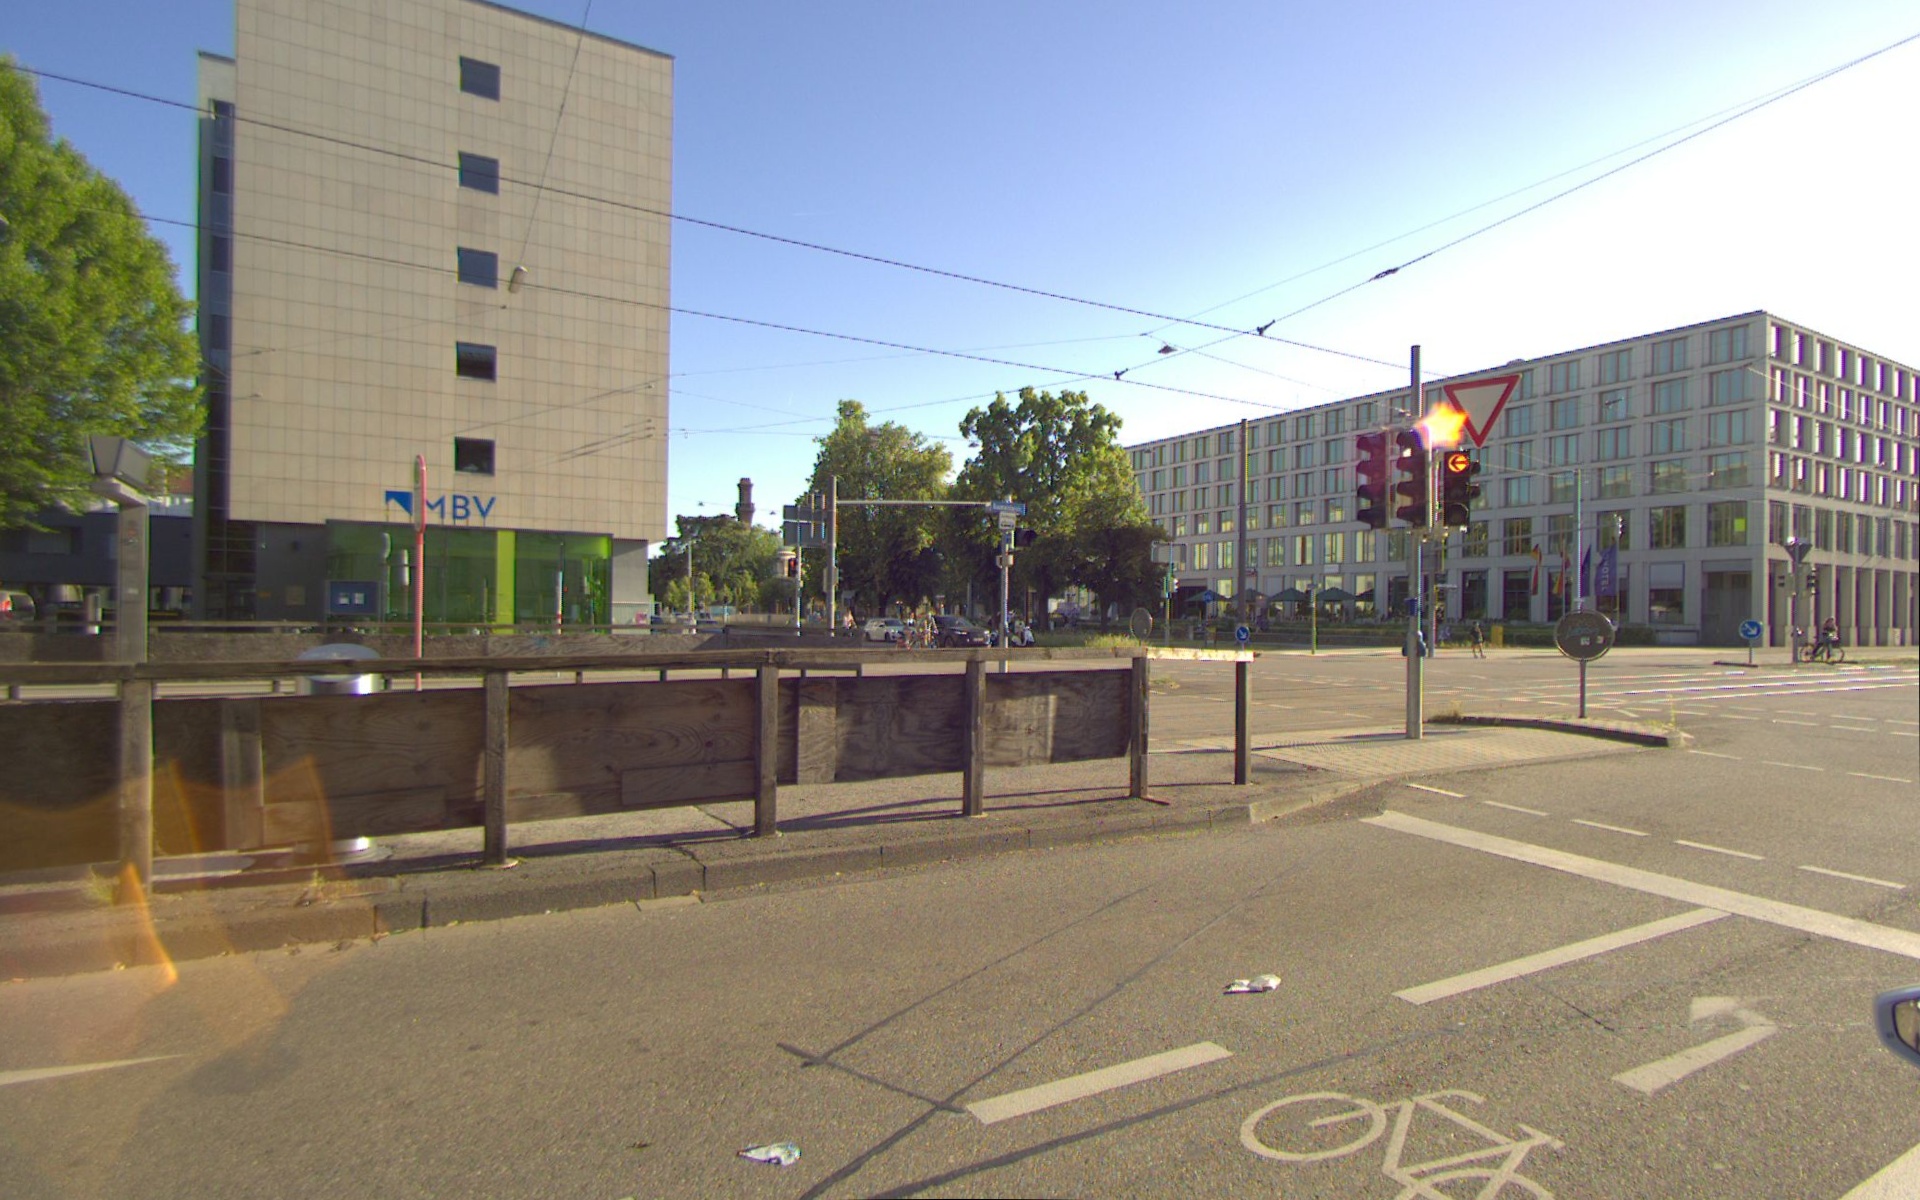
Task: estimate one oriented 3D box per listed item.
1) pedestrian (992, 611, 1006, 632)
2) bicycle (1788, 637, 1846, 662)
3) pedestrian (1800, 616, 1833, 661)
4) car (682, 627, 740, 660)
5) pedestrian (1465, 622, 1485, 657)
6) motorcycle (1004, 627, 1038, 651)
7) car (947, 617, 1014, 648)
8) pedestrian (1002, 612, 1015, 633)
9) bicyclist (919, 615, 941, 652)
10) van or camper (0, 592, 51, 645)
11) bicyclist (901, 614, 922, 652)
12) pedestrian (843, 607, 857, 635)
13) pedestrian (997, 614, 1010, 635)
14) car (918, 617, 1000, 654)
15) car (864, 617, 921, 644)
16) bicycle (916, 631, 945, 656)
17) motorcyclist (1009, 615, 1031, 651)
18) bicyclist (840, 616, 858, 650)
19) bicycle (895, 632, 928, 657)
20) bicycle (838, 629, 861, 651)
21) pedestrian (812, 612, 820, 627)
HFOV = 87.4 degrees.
[{"bbox_3d":[3.264,1.846,84.603,0.858,1.738,0.737,2,0,-26],"label":"pedestrian"},{"bbox_3d":[31.002,1.787,36.361,0.562,0.834,1.718,1,-1,-2],"label":"bicycle"},{"bbox_3d":[31.008,1.392,36.386,0.562,1.616,0.744,1,-1,-3],"label":"pedestrian"},{"bbox_3d":[-12.829,2.224,51.588,1.975,1.472,4.179,2,0,-28],"label":"car"},{"bbox_3d":[24.955,1.903,48.651,0.597,1.703,0.602,1,-1,-22],"label":"pedestrian"},{"bbox_3d":[2.850,1.821,46.948,0.624,1.030,1.972,-3,1,-28],"label":"motorcycle"},{"bbox_3d":[1.021,1.658,52.200,1.674,1.506,3.719,1,-1,-33],"label":"car"},{"bbox_3d":[4.039,1.864,83.557,0.858,1.738,0.737,2,0,-26],"label":"pedestrian"},{"bbox_3d":[-1.271,1.401,42.409,0.576,1.563,0.890,1,-1,-27],"label":"bicyclist"},{"bbox_3d":[-27.886,0.429,27.559,3.954,1.425,1.954,4,-3,-30],"label":"van or camper"},{"bbox_3d":[-2.031,1.368,42.009,0.577,1.563,0.833,1,-2,-32],"label":"bicyclist"},{"bbox_3d":[-8.151,1.558,74.130,0.772,2.040,0.747,1,-1,-31],"label":"pedestrian"},{"bbox_3d":[3.724,2.090,86.143,0.858,1.738,0.737,2,0,-26],"label":"pedestrian"},{"bbox_3d":[-0.104,1.546,44.451,1.925,1.561,3.969,2,-2,-29],"label":"car"},{"bbox_3d":[-4.069,1.798,60.255,1.975,1.537,3.971,1,-1,-28],"label":"car"},{"bbox_3d":[-1.265,1.828,42.374,0.576,1.032,1.666,1,-1,-27],"label":"bicycle"},{"bbox_3d":[2.809,1.539,46.979,0.624,1.601,0.812,-3,1,-28],"label":"motorcyclist"},{"bbox_3d":[-5.523,1.626,49.908,0.576,1.658,0.890,1,-1,-27],"label":"bicyclist"},{"bbox_3d":[-2.036,1.846,42.013,0.577,1.032,1.806,1,-3,-31],"label":"bicycle"},{"bbox_3d":[-5.490,1.974,49.836,0.576,1.032,1.666,1,-1,-27],"label":"bicycle"},{"bbox_3d":[-17.209,2.308,119.968,0.761,1.829,0.621,2,0,-22],"label":"pedestrian"}]
